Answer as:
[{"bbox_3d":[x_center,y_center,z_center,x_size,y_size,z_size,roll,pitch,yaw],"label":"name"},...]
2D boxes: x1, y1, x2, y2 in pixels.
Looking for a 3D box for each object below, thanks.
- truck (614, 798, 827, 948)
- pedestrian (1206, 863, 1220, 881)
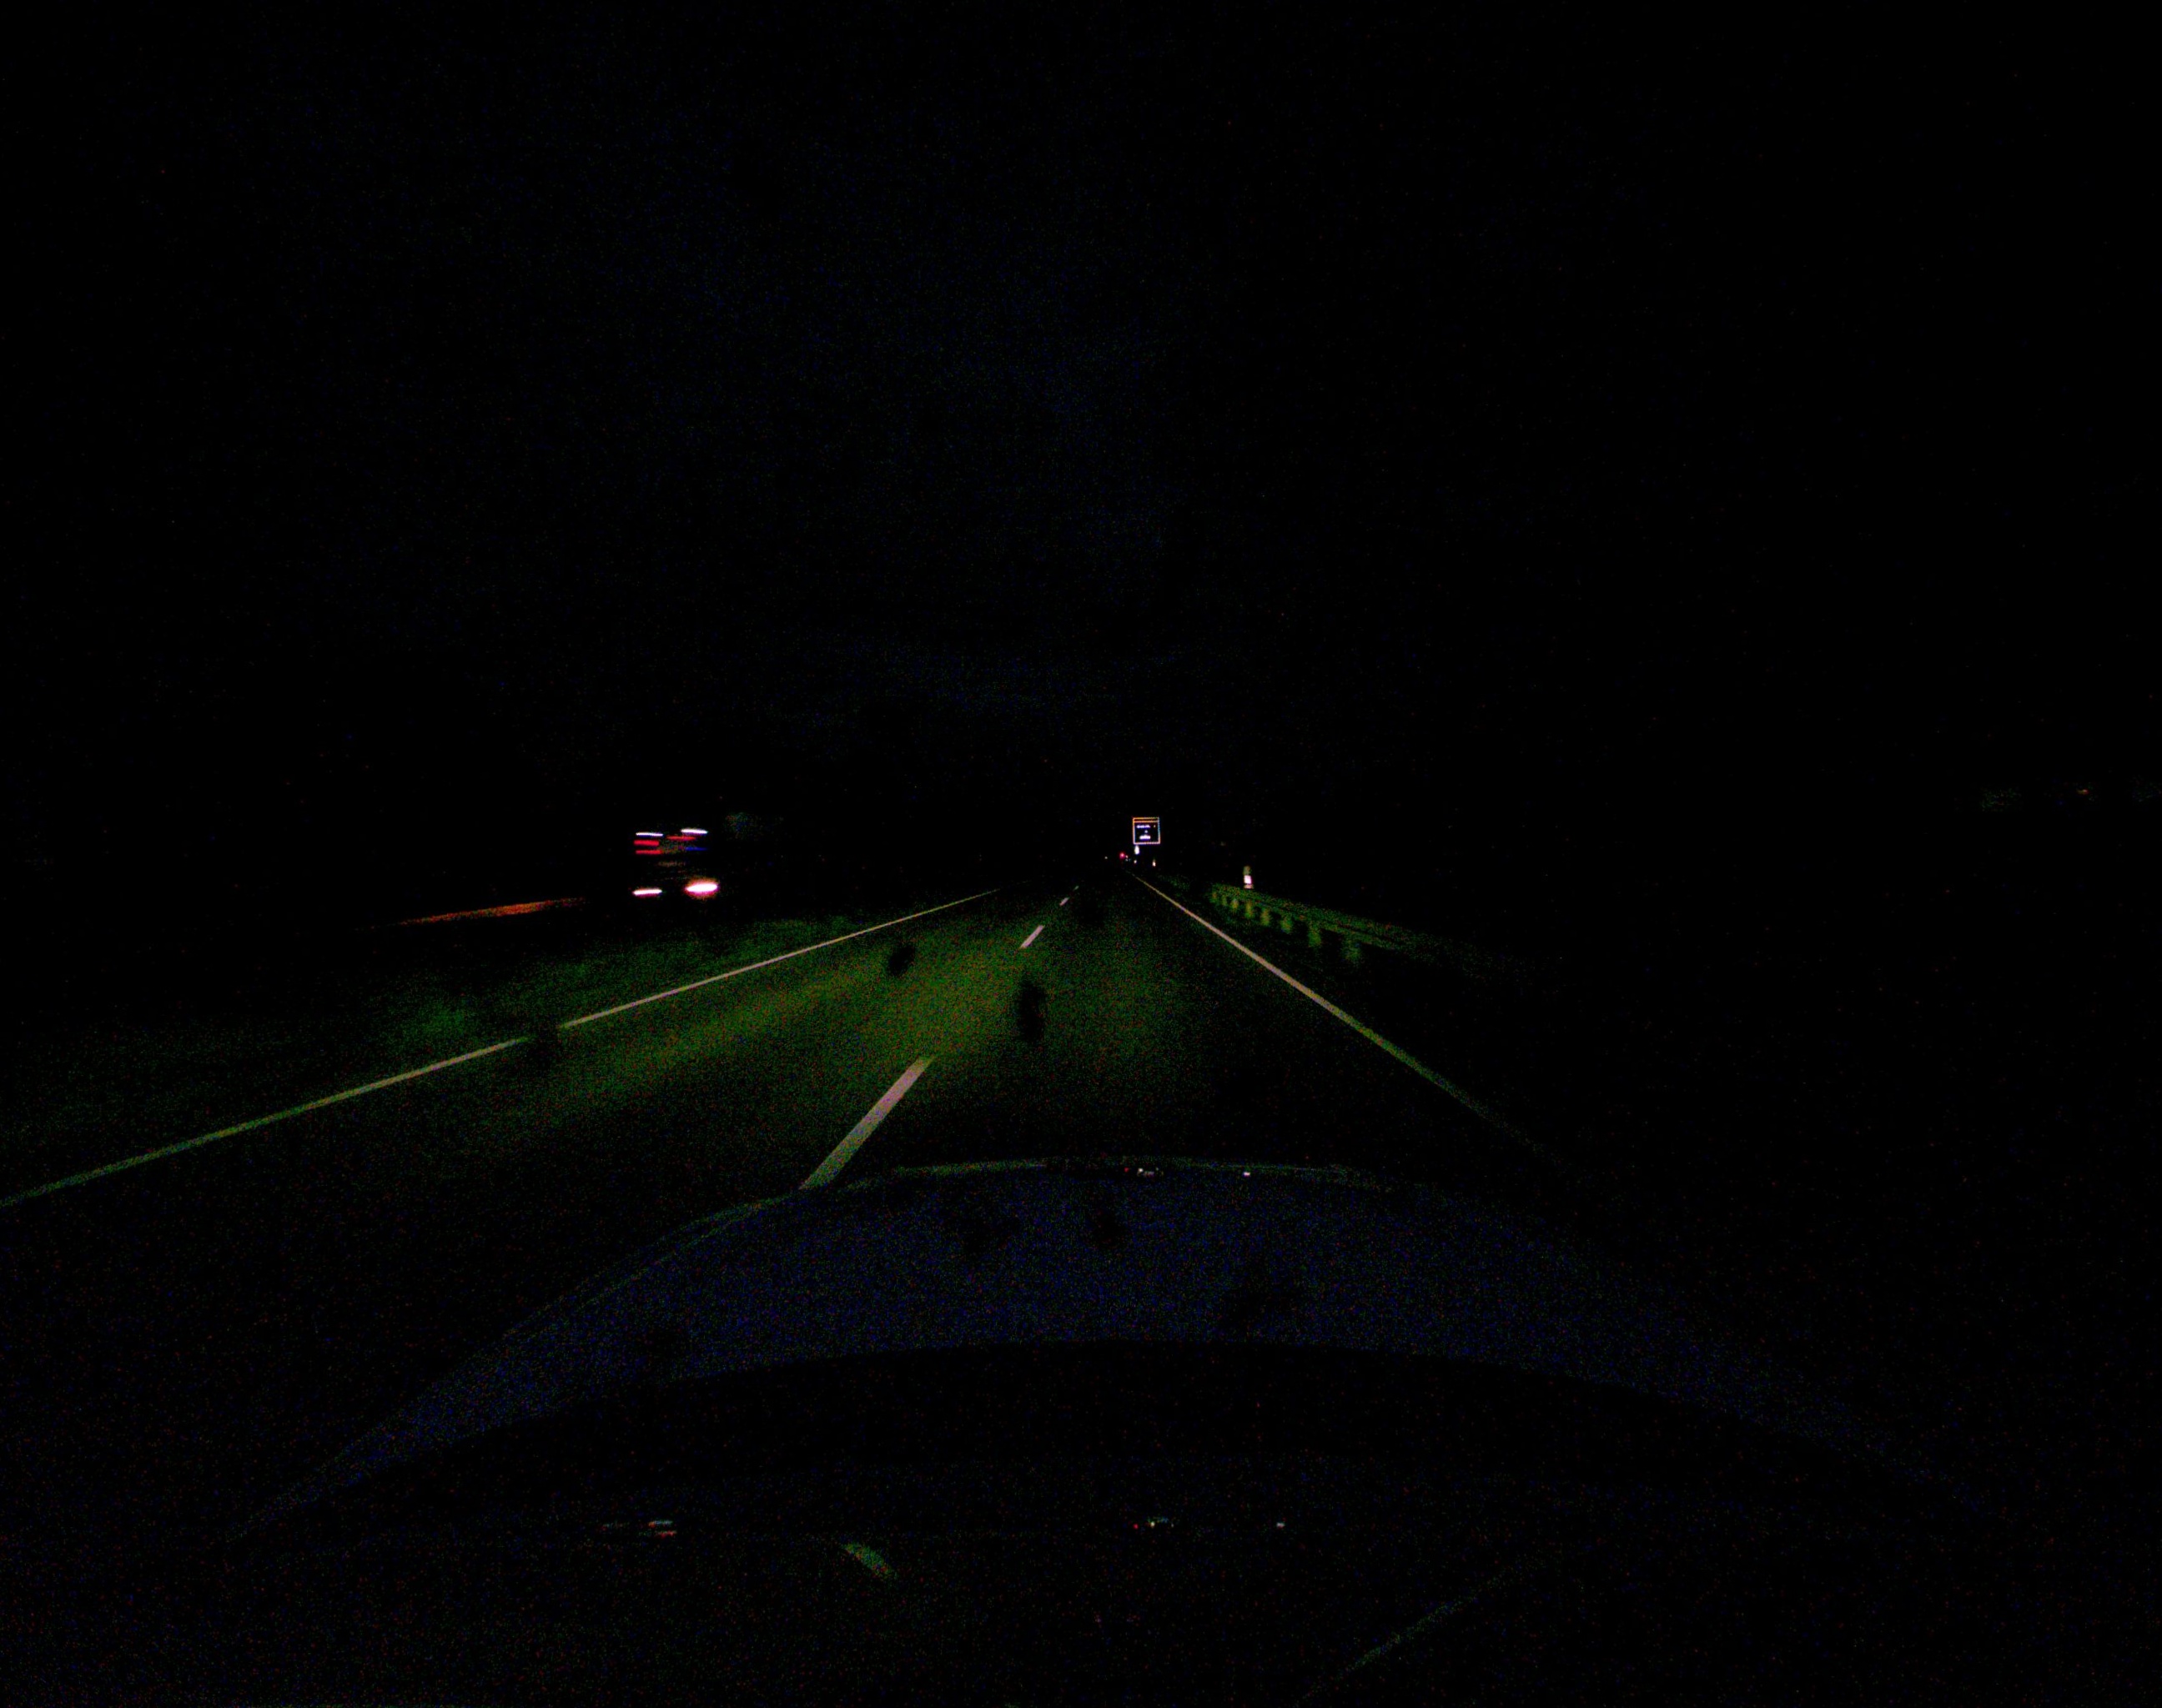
[{"bbox_3d":[-14.644,0.695,34.950,3.191,5.256,12.612,0,0,1],"label":"truck"},{"bbox_3d":[11.828,1.592,73.057,1.058,1.643,1.119,0,-1,2],"label":"pedestrian"}]
